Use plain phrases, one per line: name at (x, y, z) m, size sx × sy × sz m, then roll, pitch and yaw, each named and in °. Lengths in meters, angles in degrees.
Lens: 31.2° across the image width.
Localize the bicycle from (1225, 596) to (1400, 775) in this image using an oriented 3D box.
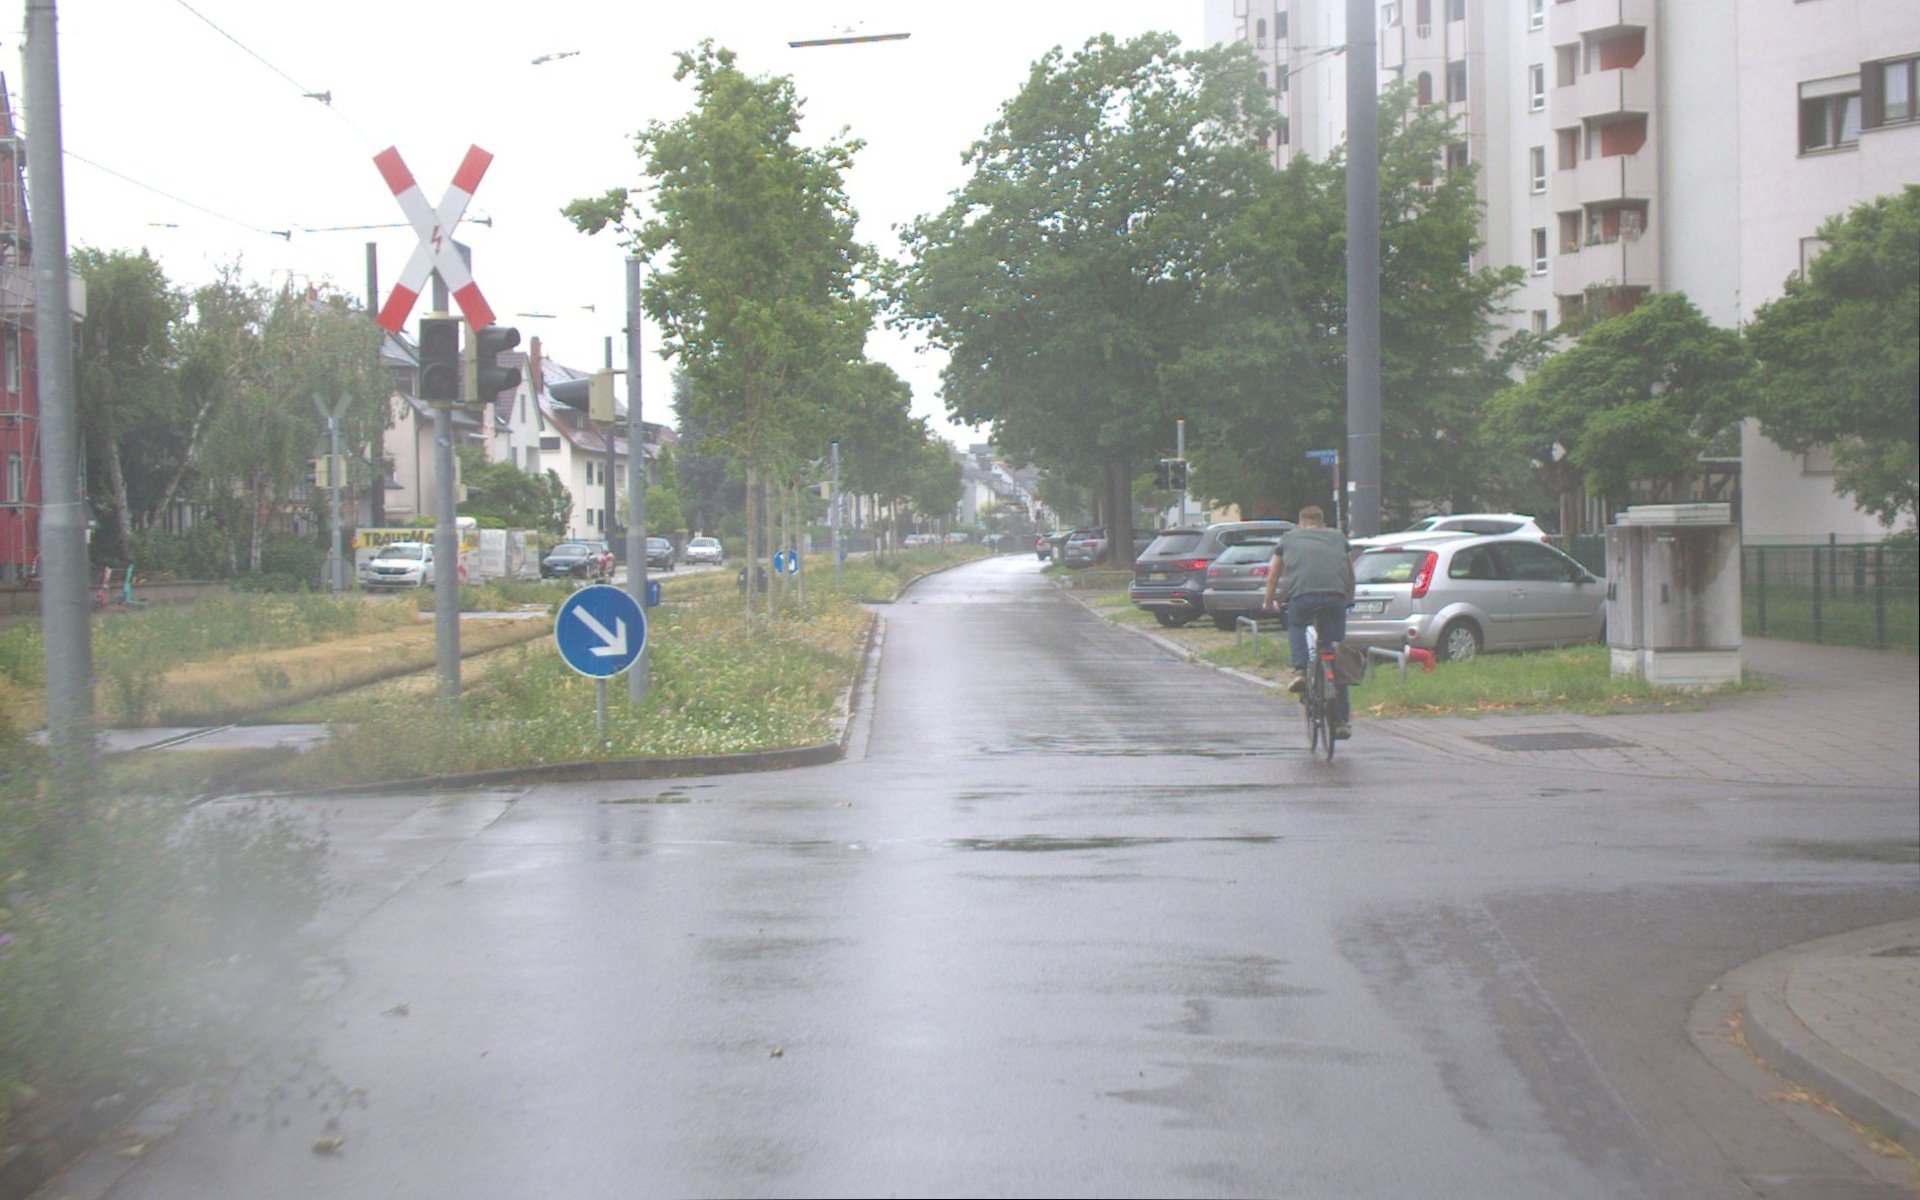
bicycle at (2.389, 0.556, 23.618) m, size 0.809 × 1.093 × 2.517 m, roll -2°, pitch 1°, yaw -3°

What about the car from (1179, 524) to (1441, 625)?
car at (5.429, -0.408, 53.020) m, size 3.989 × 1.424 × 1.734 m, roll -3°, pitch 2°, yaw -41°

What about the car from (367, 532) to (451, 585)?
car at (-16.999, -1.285, 106.157) m, size 1.710 × 1.537 × 4.422 m, roll 1°, pitch 1°, yaw 2°

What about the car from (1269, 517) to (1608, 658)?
car at (5.755, -0.166, 41.146) m, size 3.988 × 1.503 × 1.705 m, roll -2°, pitch 0°, yaw -39°

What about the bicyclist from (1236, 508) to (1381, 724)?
bicyclist at (2.379, 0.094, 23.587) m, size 0.809 × 1.428 × 1.060 m, roll -2°, pitch 1°, yaw -3°

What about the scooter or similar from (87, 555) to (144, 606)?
scooter or similar at (-18.887, -0.439, 76.878) m, size 0.441 × 1.125 × 1.281 m, roll 0°, pitch 1°, yaw 30°

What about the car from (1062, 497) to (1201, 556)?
car at (5.724, -2.450, 114.500) m, size 4.135 × 1.713 × 2.000 m, roll -5°, pitch 3°, yaw -31°

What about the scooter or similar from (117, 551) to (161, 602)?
scooter or similar at (-19.100, -0.547, 79.980) m, size 0.394 × 1.176 × 1.282 m, roll -1°, pitch 1°, yaw 15°

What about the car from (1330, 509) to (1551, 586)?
car at (11.459, -1.257, 82.095) m, size 4.801 × 1.739 × 2.001 m, roll -1°, pitch 1°, yaw -14°

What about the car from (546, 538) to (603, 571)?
car at (-15.162, -1.800, 135.240) m, size 1.663 × 1.240 × 4.071 m, roll 1°, pitch 1°, yaw 2°

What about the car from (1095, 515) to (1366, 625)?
car at (4.438, -0.511, 56.041) m, size 4.338 × 1.645 × 1.857 m, roll -3°, pitch 2°, yaw -41°

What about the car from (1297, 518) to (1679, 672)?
car at (5.827, -0.063, 37.769) m, size 3.988 × 1.503 × 1.784 m, roll -2°, pitch 0°, yaw -36°
